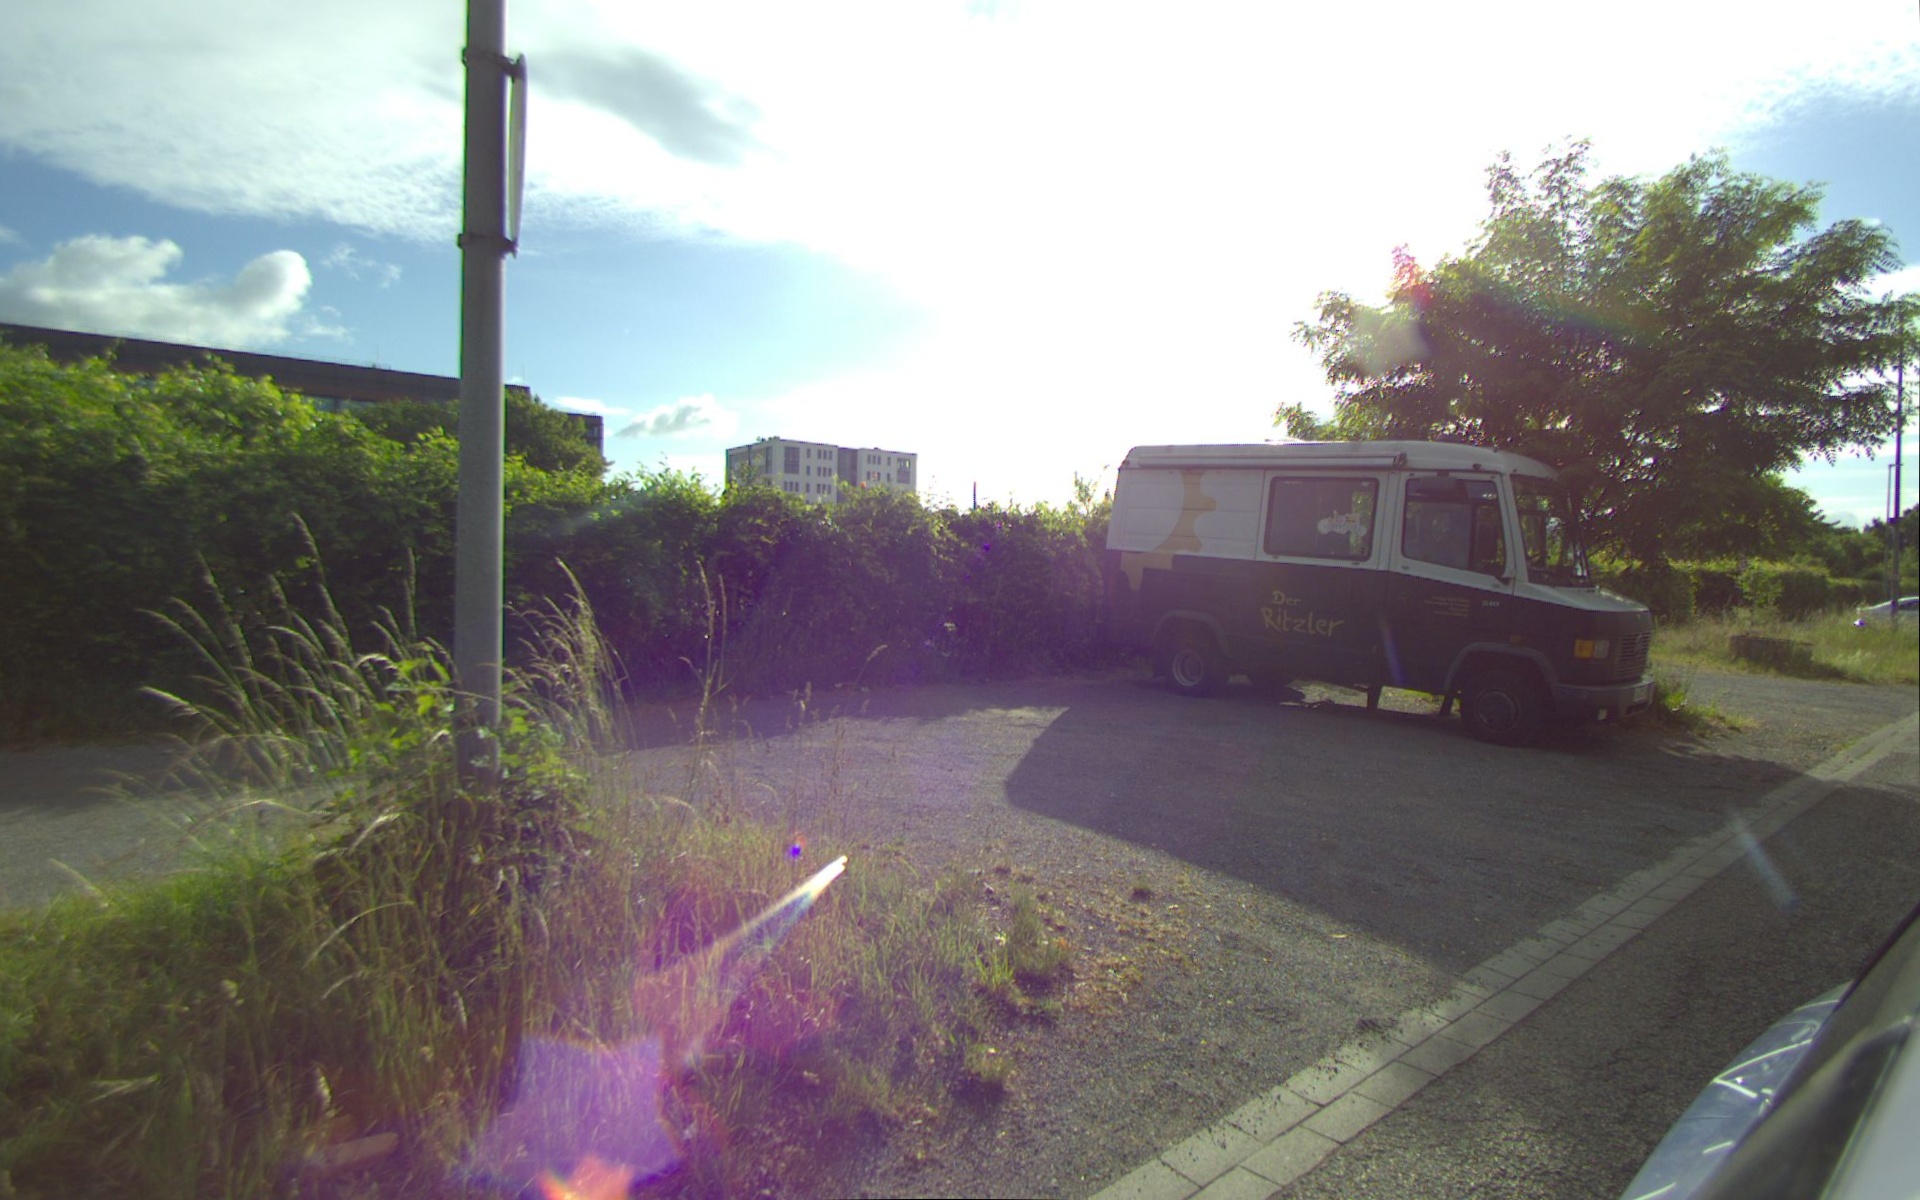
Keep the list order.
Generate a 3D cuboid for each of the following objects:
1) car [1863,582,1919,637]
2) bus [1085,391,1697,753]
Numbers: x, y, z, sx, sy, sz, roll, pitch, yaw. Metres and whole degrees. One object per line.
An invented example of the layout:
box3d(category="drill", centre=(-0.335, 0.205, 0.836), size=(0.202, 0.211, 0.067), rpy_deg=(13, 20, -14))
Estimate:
box3d(category="car", centre=(27.886, 0.319, 27.826), size=(1.899, 1.460, 4.370), rpy_deg=(-1, 3, -42))
box3d(category="bus", centre=(4.057, -0.351, 10.444), size=(2.033, 2.780, 5.373), rpy_deg=(1, 3, -43))
